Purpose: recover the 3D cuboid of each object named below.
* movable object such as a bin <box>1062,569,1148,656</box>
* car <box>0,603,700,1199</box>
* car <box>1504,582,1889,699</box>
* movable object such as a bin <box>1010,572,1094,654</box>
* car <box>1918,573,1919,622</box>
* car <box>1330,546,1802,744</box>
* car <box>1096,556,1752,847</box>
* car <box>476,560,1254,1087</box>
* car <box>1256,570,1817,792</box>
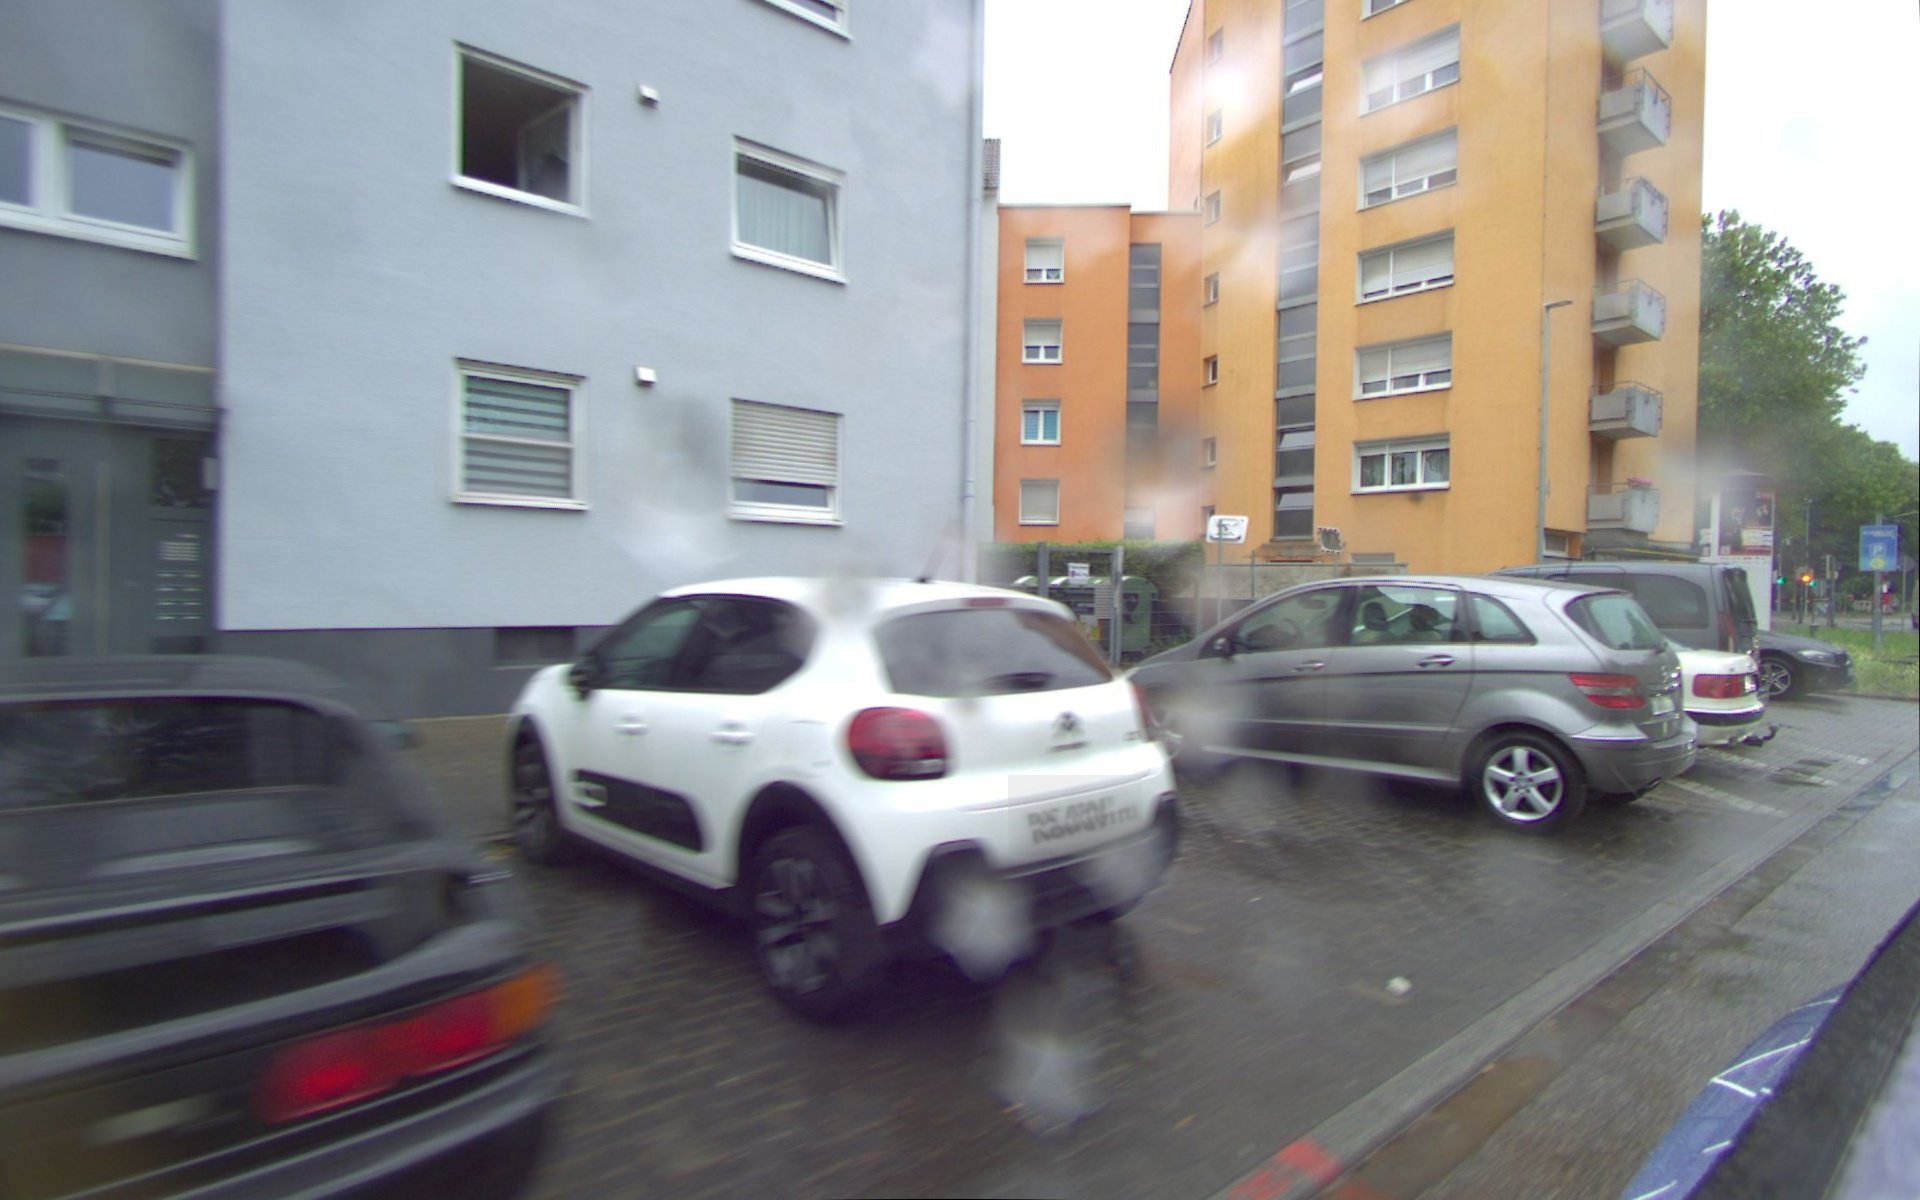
[{"bbox_3d":[2.433,0.196,17.076,0.806,1.395,1.240,1,0,-33],"label":"movable object such as a bin"},{"bbox_3d":[-2.407,0.664,2.743,1.920,1.223,3.864,0,1,-38],"label":"car"},{"bbox_3d":[11.318,0.500,15.848,1.948,1.488,4.543,0,2,-40],"label":"car"},{"bbox_3d":[1.646,0.215,18.141,0.936,1.395,1.220,1,0,-33],"label":"movable object such as a bin"},{"bbox_3d":[49.411,-0.107,49.948,2.271,2.594,6.426,1,1,36],"label":"car"},{"bbox_3d":[6.684,0.331,11.516,1.912,1.827,4.237,0,2,-43],"label":"car"},{"bbox_3d":[3.233,0.529,7.729,1.857,1.591,4.188,0,1,-41],"label":"car"},{"bbox_3d":[-0.779,0.586,4.878,1.805,1.472,3.860,0,1,-42],"label":"car"},{"bbox_3d":[5.126,0.527,9.467,1.856,1.588,4.196,0,2,-42],"label":"car"}]
